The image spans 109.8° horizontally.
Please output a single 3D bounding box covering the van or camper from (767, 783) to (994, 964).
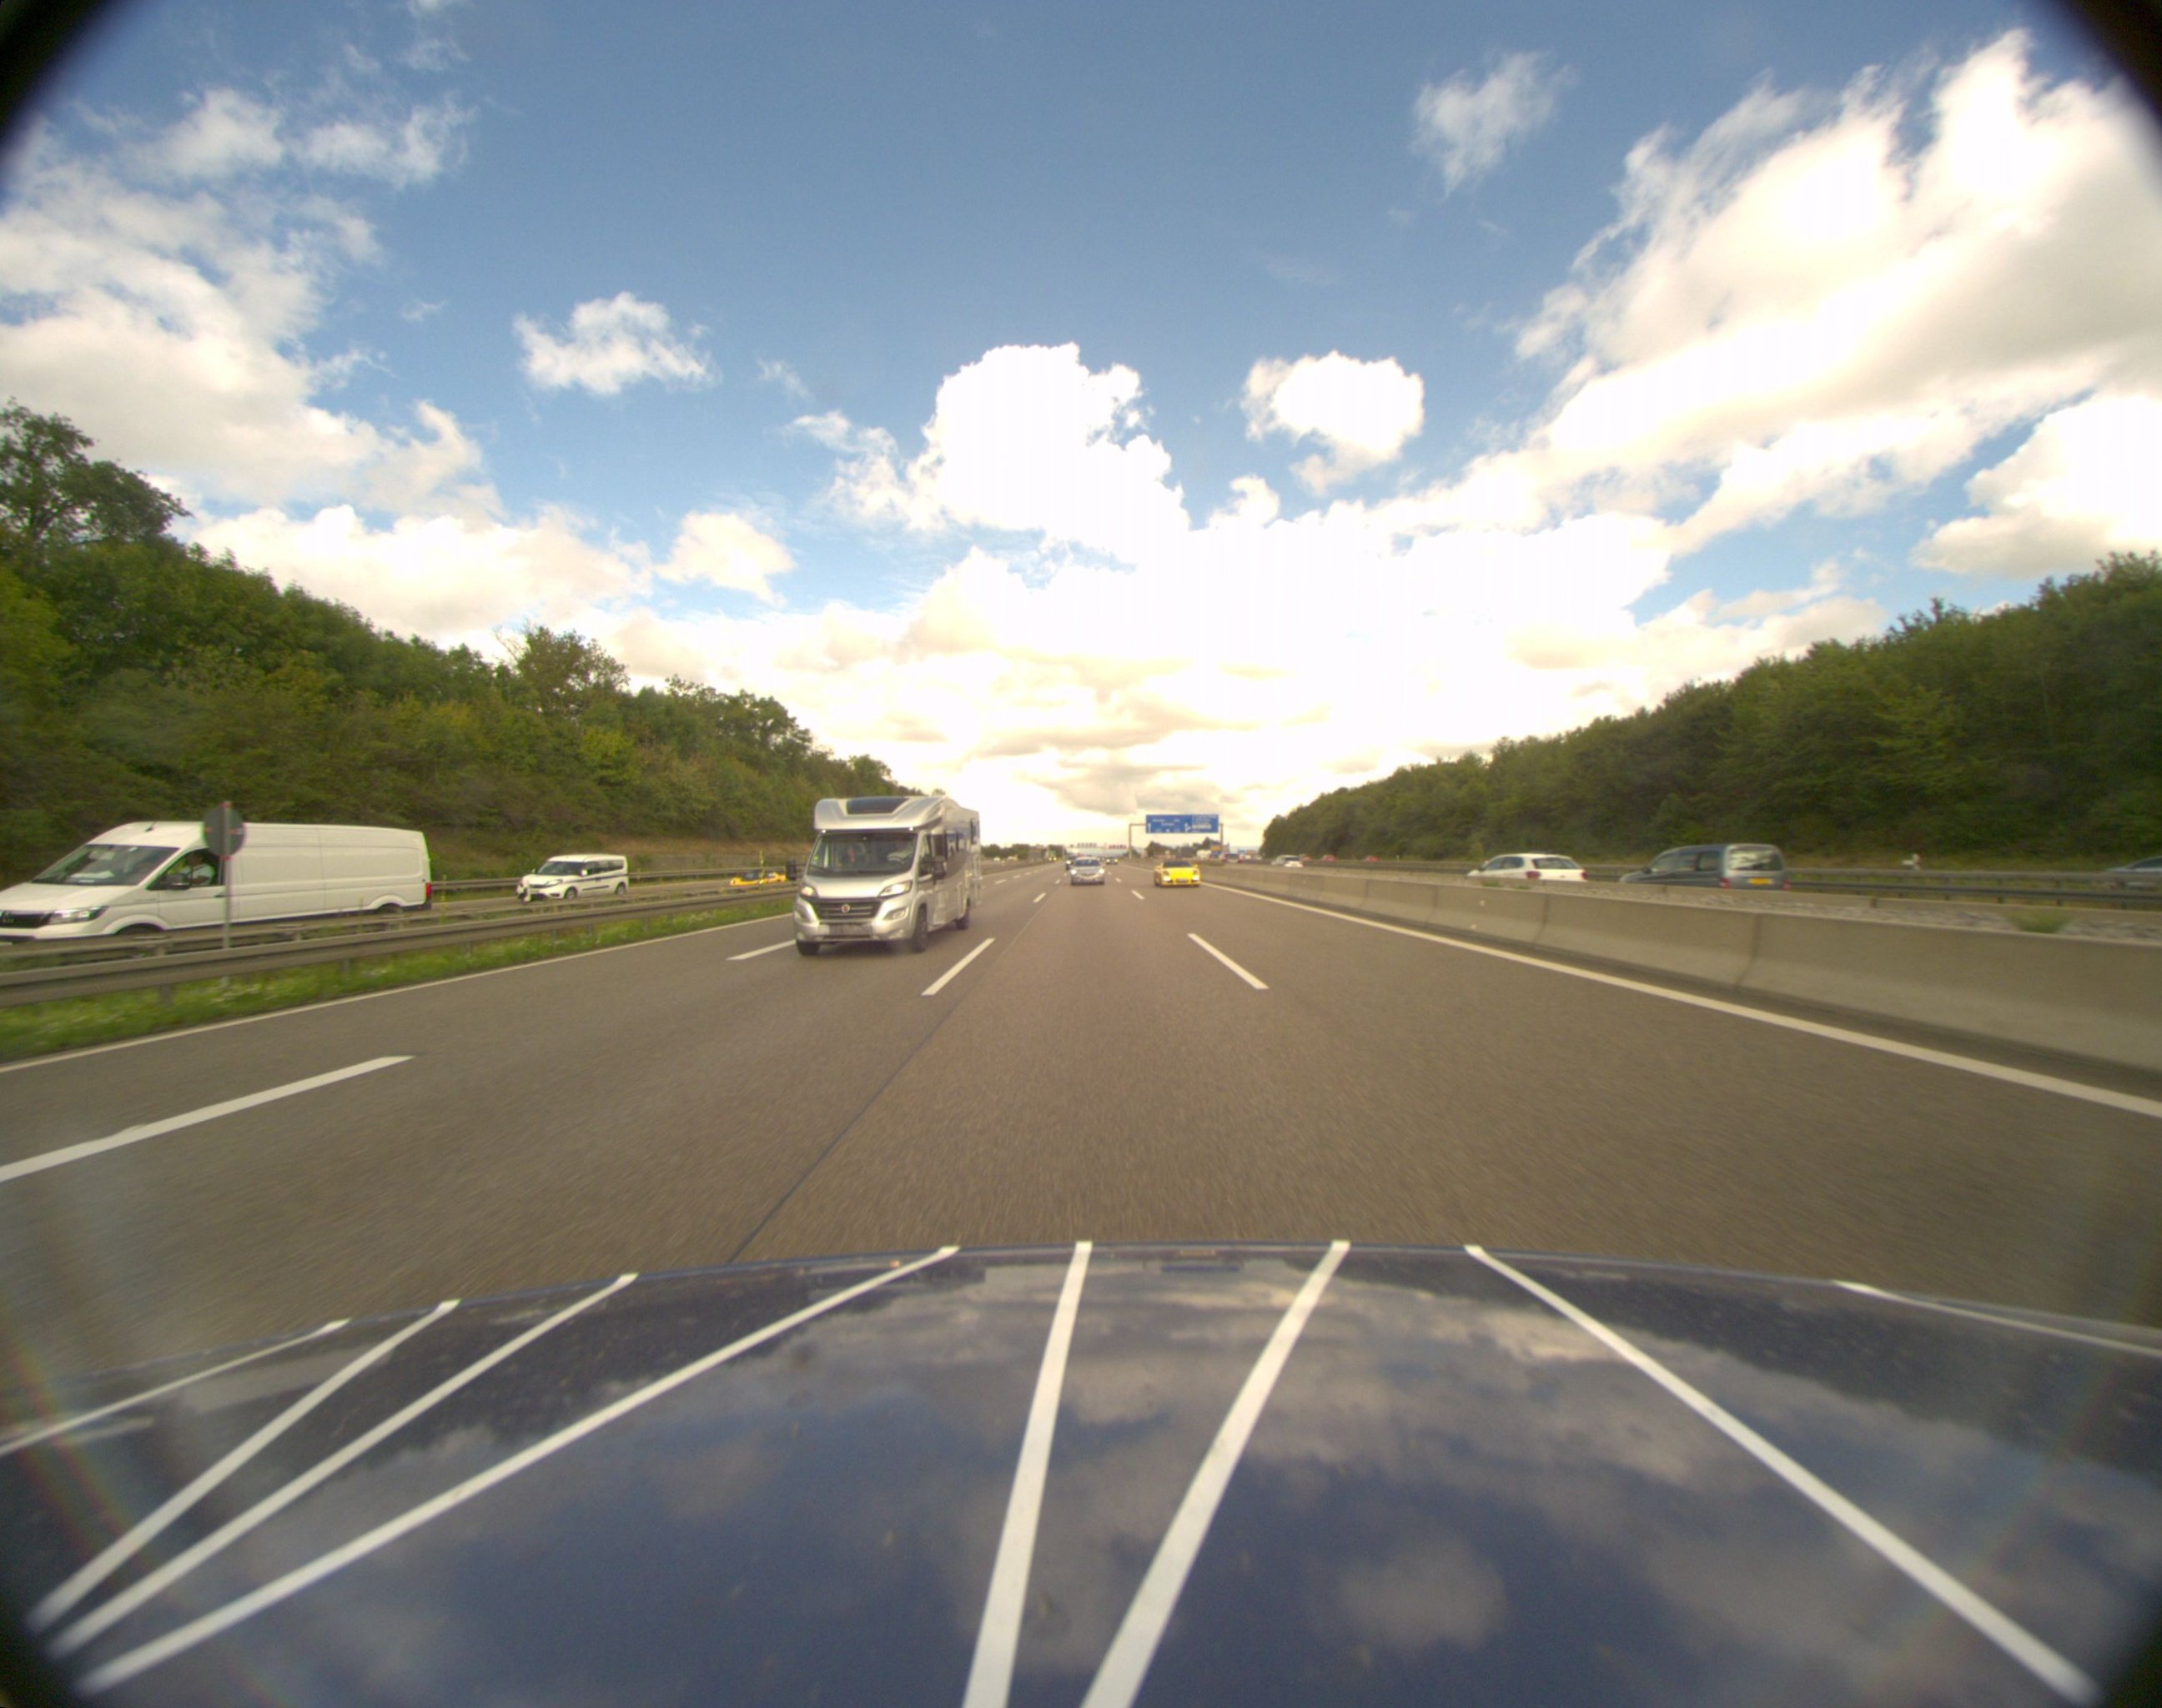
[{"bbox_3d":[-3.534,0.288,15.567,2.475,2.706,7.661,-2,0,0],"label":"van or camper"}]

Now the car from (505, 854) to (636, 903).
[{"bbox_3d":[-19.941,0.898,29.998,1.848,1.741,4.764,-2,0,1],"label":"car"}]

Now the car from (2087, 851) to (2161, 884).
[{"bbox_3d":[41.464,0.502,28.874,1.469,1.211,3.760,0,0,0],"label":"car"}]

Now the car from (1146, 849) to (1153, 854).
[{"bbox_3d":[23.149,-0.936,256.782,1.839,1.775,5.503,-1,0,0],"label":"car"}]

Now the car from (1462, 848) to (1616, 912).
[{"bbox_3d":[12.636,0.652,21.310,1.780,1.563,4.180,-2,0,1],"label":"car"}]

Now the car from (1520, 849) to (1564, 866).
[{"bbox_3d":[38.792,0.281,63.999,1.469,1.418,3.760,0,0,0],"label":"car"}]

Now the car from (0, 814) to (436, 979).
[{"bbox_3d":[-16.762,0.662,15.107,2.075,2.539,6.742,0,0,0],"label":"car"}]

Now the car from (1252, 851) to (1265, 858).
[{"bbox_3d":[36.130,0.003,154.563,1.567,1.357,4.051,-1,0,0],"label":"car"}]

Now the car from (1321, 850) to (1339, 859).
[{"bbox_3d":[39.151,0.103,119.654,1.567,1.357,4.051,-1,0,0],"label":"car"}]

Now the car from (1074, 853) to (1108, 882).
[{"bbox_3d":[0.514,0.685,41.510,1.687,1.476,4.615,-1,0,0],"label":"car"}]

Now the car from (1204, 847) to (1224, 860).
[{"bbox_3d":[17.489,-0.092,100.242,1.778,1.552,4.781,-1,0,0],"label":"car"}]

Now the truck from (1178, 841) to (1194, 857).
[{"bbox_3d":[22.053,-1.078,160.088,2.359,3.245,7.825,-1,0,0],"label":"truck"}]

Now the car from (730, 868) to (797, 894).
[{"bbox_3d":[-16.330,1.358,39.301,1.716,1.175,4.168,-2,0,0],"label":"car"}]

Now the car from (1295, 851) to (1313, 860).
[{"bbox_3d":[35.366,0.299,120.473,1.567,1.357,4.051,-1,0,0],"label":"car"}]

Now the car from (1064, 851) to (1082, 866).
[{"bbox_3d":[-0.890,0.489,87.452,1.876,1.626,4.859,-1,0,1],"label":"car"}]

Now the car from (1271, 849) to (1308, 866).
[{"bbox_3d":[17.214,0.255,63.064,1.775,1.287,4.675,-2,0,0],"label":"car"}]

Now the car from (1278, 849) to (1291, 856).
[{"bbox_3d":[44.228,-0.301,165.029,1.596,1.486,4.180,-1,0,0],"label":"car"}]

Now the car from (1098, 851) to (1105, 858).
[{"bbox_3d":[5.907,0.249,218.876,1.998,2.002,4.589,0,0,1],"label":"car"}]

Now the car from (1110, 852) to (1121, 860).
[{"bbox_3d":[5.782,0.247,127.572,1.593,1.307,3.978,1,0,0],"label":"car"}]

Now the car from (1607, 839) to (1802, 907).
[{"bbox_3d":[16.566,0.444,20.528,1.598,1.601,4.463,-2,0,0],"label":"car"}]

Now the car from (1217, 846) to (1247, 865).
[{"bbox_3d":[13.350,0.105,67.509,1.776,1.601,4.465,-2,0,0],"label":"car"}]

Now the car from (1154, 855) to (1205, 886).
[{"bbox_3d":[4.538,0.730,35.597,1.811,1.307,4.247,1,0,0],"label":"car"}]

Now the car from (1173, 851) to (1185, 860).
[{"bbox_3d":[18.327,0.282,142.325,1.741,1.502,4.051,-1,0,0],"label":"car"}]

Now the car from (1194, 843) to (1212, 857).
[{"bbox_3d":[21.351,-0.684,133.237,2.170,2.258,6.460,-1,0,0],"label":"car"}]
